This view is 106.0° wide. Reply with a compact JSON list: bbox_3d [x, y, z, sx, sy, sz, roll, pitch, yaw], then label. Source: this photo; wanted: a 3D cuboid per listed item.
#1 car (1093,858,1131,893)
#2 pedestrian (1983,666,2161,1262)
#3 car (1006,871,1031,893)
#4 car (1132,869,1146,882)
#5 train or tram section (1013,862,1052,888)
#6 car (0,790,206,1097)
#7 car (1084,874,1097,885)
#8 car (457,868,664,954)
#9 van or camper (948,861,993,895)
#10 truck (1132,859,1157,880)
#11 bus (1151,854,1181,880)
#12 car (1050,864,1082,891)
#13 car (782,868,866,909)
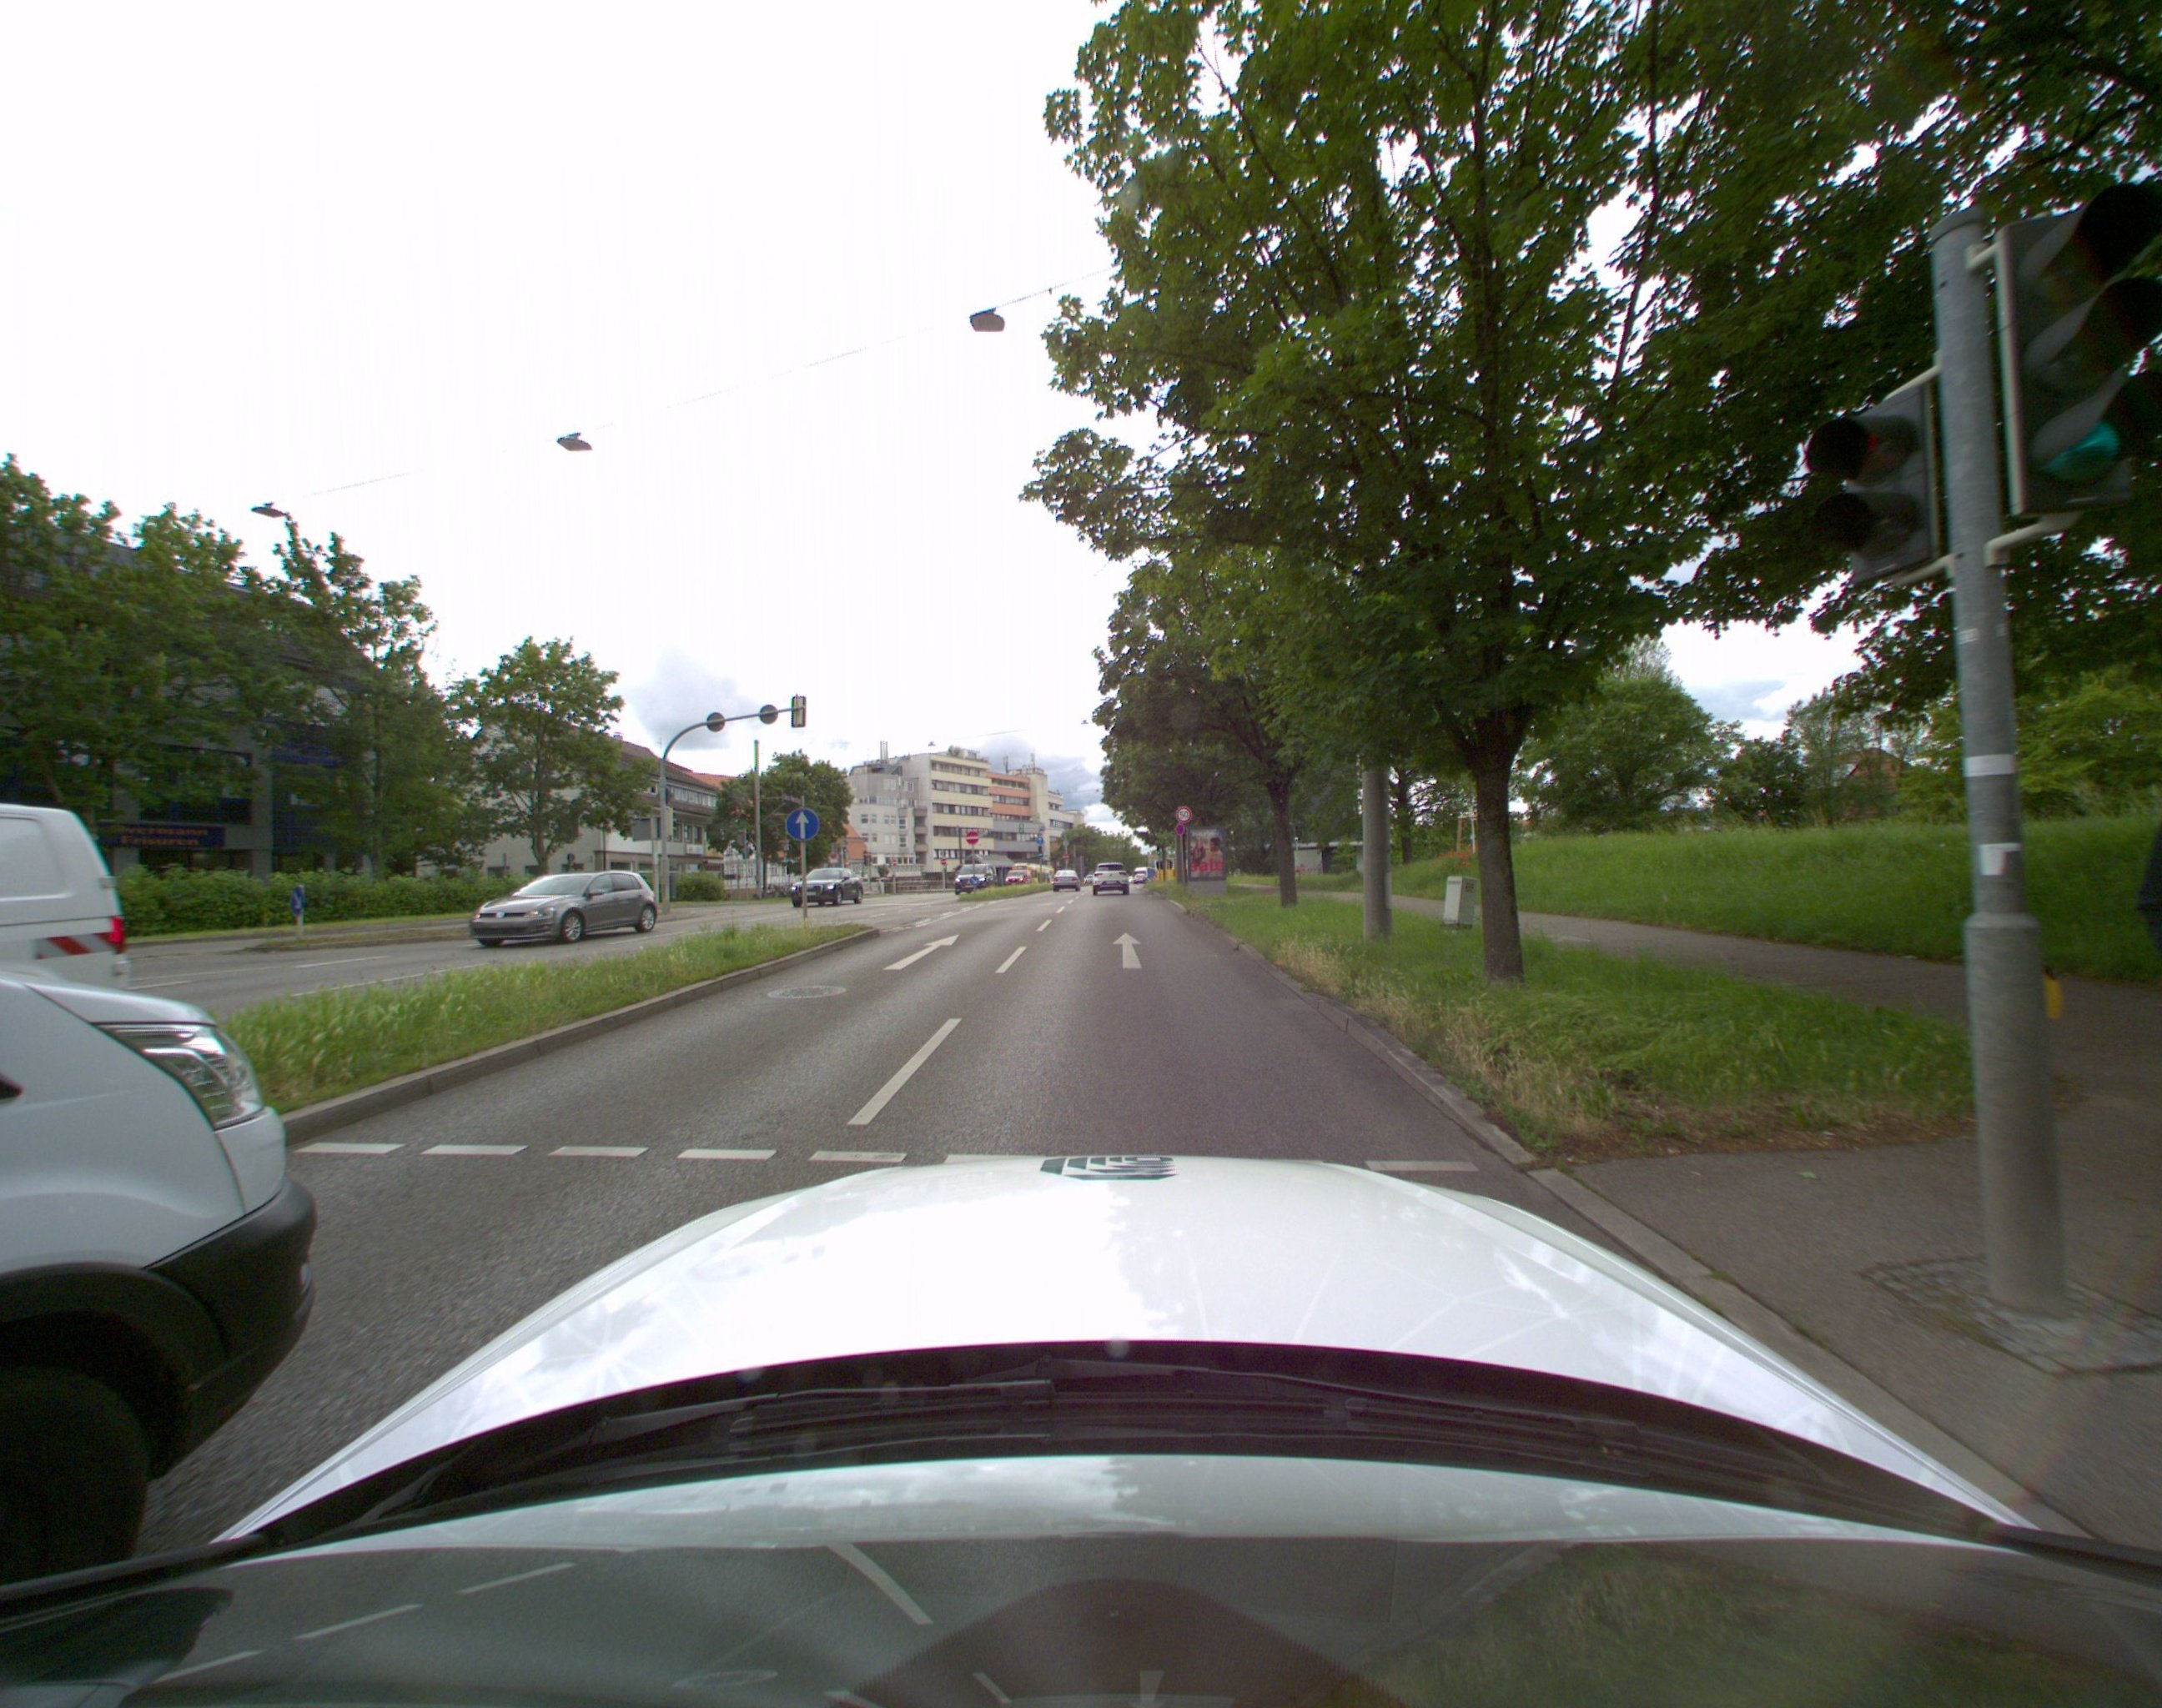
[{"bbox_3d":[1.597,1.040,40.707,1.692,1.548,3.741,1,1,4],"label":"car"},{"bbox_3d":[3.659,0.337,2.666,0.641,1.855,0.672,-2,0,-4],"label":"pedestrian"},{"bbox_3d":[-6.462,2.875,84.929,1.985,2.013,4.838,0,1,2],"label":"car"},{"bbox_3d":[8.002,2.981,113.288,1.763,1.570,4.288,-2,1,3],"label":"car"},{"bbox_3d":[-7.014,3.113,119.112,2.543,3.411,13.117,-3,-2,10],"label":"train or tram section"},{"bbox_3d":[-7.986,0.613,4.085,1.829,2.002,4.858,-1,1,1],"label":"car"},{"bbox_3d":[1.287,3.493,111.465,1.607,1.446,3.655,-2,-3,3],"label":"car"},{"bbox_3d":[-10.687,1.098,17.117,1.739,1.464,3.999,-3,-1,-1],"label":"car"},{"bbox_3d":[-6.755,1.444,50.232,1.920,1.938,5.248,-1,-1,1],"label":"van or camper"},{"bbox_3d":[13.939,3.385,176.750,2.934,4.080,16.656,-2,-2,12],"label":"truck"},{"bbox_3d":[11.413,1.747,108.525,2.935,3.191,9.958,-2,-2,11],"label":"bus"},{"bbox_3d":[-0.926,1.491,53.315,1.692,1.515,3.741,-2,2,5],"label":"car"},{"bbox_3d":[-10.106,1.317,32.302,1.854,1.428,4.002,-2,0,2],"label":"car"}]
